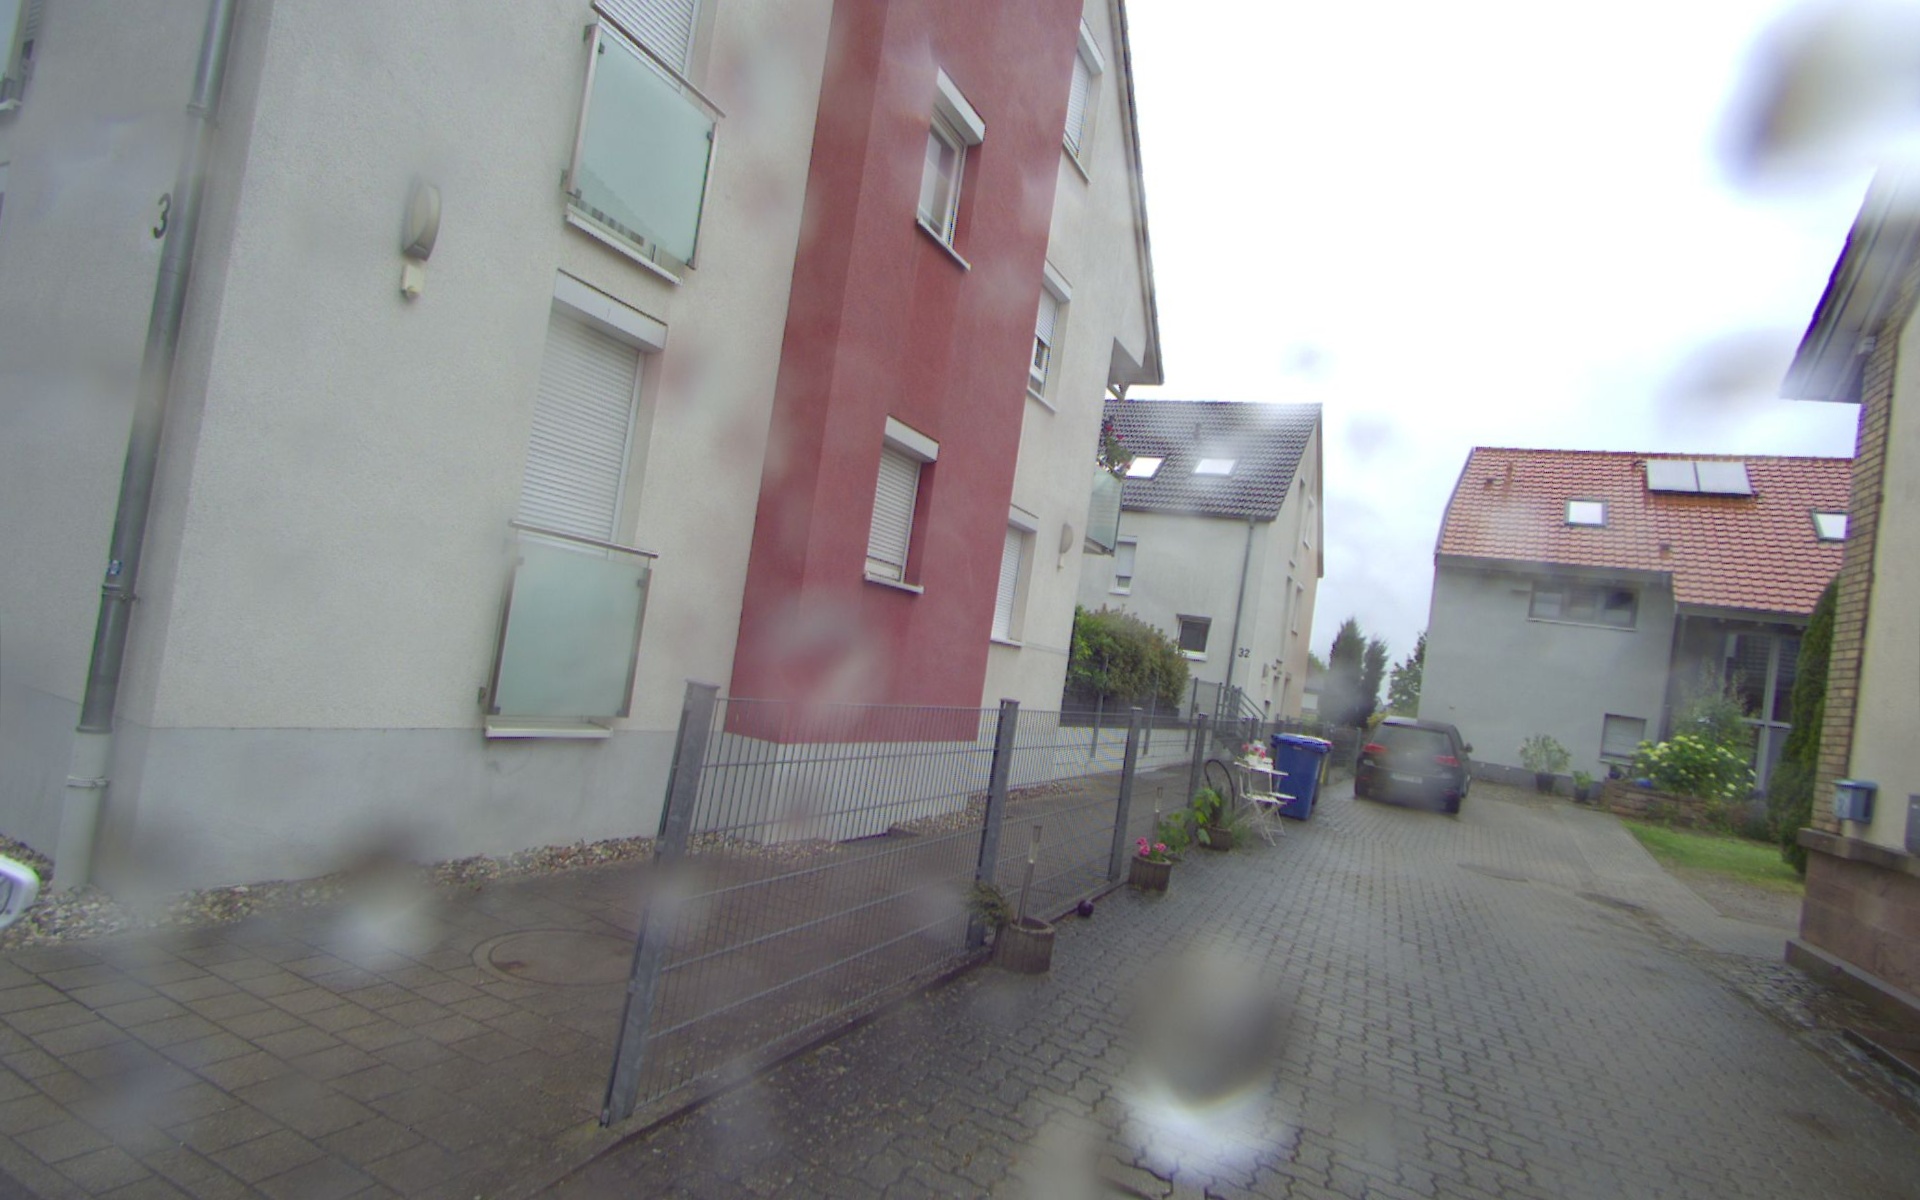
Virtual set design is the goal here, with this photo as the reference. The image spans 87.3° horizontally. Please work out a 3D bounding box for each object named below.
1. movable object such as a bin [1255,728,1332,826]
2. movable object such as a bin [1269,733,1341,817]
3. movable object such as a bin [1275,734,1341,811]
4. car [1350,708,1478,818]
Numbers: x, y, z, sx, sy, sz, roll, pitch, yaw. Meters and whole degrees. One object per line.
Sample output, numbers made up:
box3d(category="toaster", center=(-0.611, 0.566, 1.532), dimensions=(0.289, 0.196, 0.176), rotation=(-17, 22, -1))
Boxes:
box3d(category="movable object such as a bin", center=(4.505, 2.365, 13.570), dimensions=(0.789, 1.146, 0.729), rotation=(7, -4, 26))
box3d(category="movable object such as a bin", center=(4.999, 2.520, 14.558), dimensions=(0.789, 1.049, 0.729), rotation=(7, -4, 26))
box3d(category="movable object such as a bin", center=(5.463, 2.689, 15.781), dimensions=(0.789, 1.049, 0.729), rotation=(7, -4, 26))
box3d(category="car", center=(8.428, 2.887, 18.520), dimensions=(1.667, 1.480, 3.566), rotation=(6, 0, 31))
